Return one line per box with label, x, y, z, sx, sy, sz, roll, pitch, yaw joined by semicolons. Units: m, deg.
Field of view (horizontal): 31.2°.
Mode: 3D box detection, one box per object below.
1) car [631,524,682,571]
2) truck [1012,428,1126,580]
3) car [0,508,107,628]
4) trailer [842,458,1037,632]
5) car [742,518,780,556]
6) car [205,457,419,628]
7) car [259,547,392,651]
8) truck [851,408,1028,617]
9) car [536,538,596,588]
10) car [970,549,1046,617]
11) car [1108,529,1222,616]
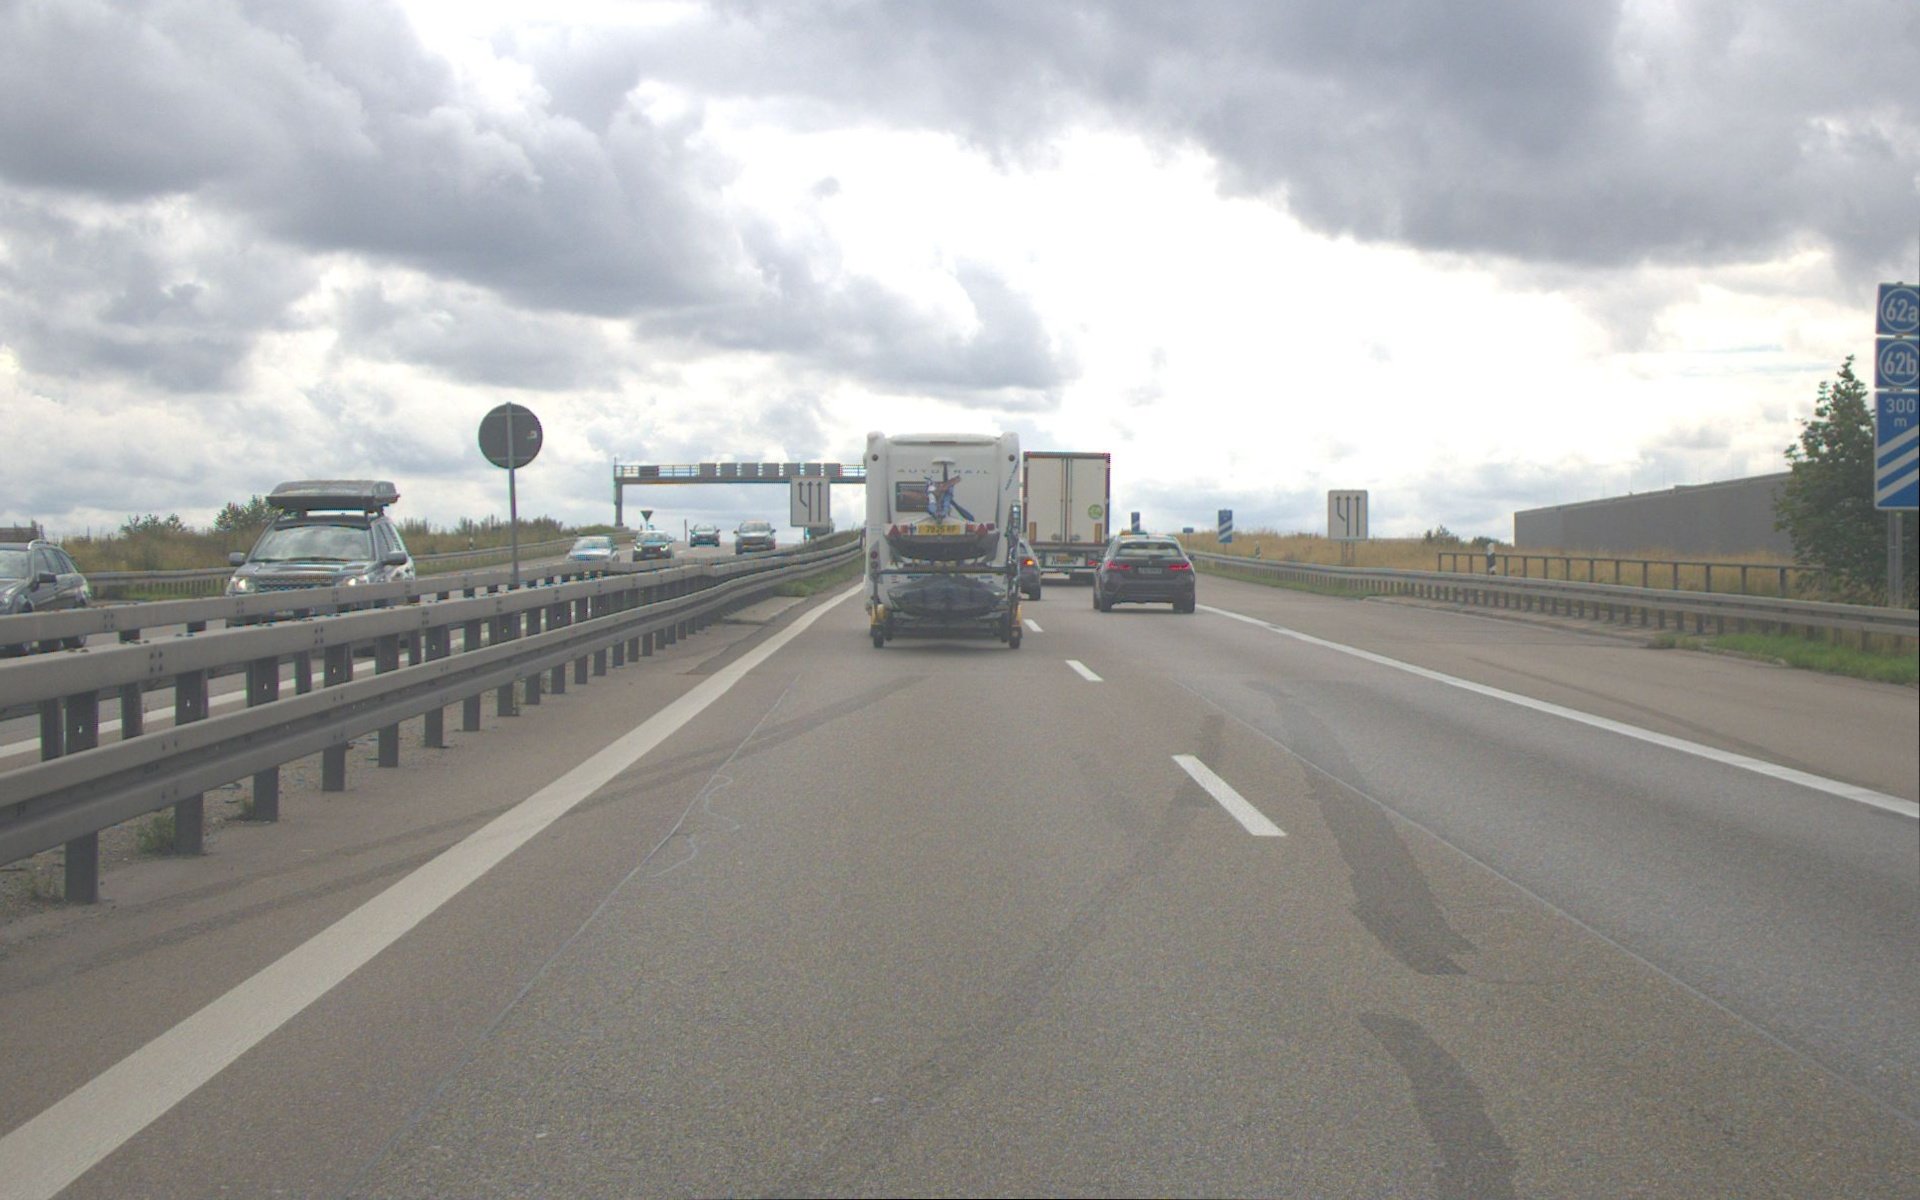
car;-13.411;-2.299;152.123;1.893;2.007;4.000;0;0;0
truck;3.290;-2.881;105.758;3.246;4.510;7.066;0;0;0
car;-12.393;-0.456;44.299;1.756;1.463;4.561;1;1;-1
trailer;-0.210;-0.683;44.171;2.338;2.129;4.000;0;0;2
car;-10.007;-3.159;173.092;1.714;1.893;4.000;0;0;0
car;-8.039;-0.735;42.995;1.993;2.007;4.384;1;1;-2
car;-12.570;-0.024;68.291;1.993;2.007;4.384;0;0;-2
truck;-0.274;-1.244;51.277;2.482;2.940;5.815;0;0;0
car;-14.413;-1.342;126.027;1.752;1.780;4.000;0;0;0
car;1.093;-0.391;78.632;1.691;1.515;4.000;0;0;0
car;3.888;-0.513;65.650;1.882;1.615;4.000;0;0;-1
